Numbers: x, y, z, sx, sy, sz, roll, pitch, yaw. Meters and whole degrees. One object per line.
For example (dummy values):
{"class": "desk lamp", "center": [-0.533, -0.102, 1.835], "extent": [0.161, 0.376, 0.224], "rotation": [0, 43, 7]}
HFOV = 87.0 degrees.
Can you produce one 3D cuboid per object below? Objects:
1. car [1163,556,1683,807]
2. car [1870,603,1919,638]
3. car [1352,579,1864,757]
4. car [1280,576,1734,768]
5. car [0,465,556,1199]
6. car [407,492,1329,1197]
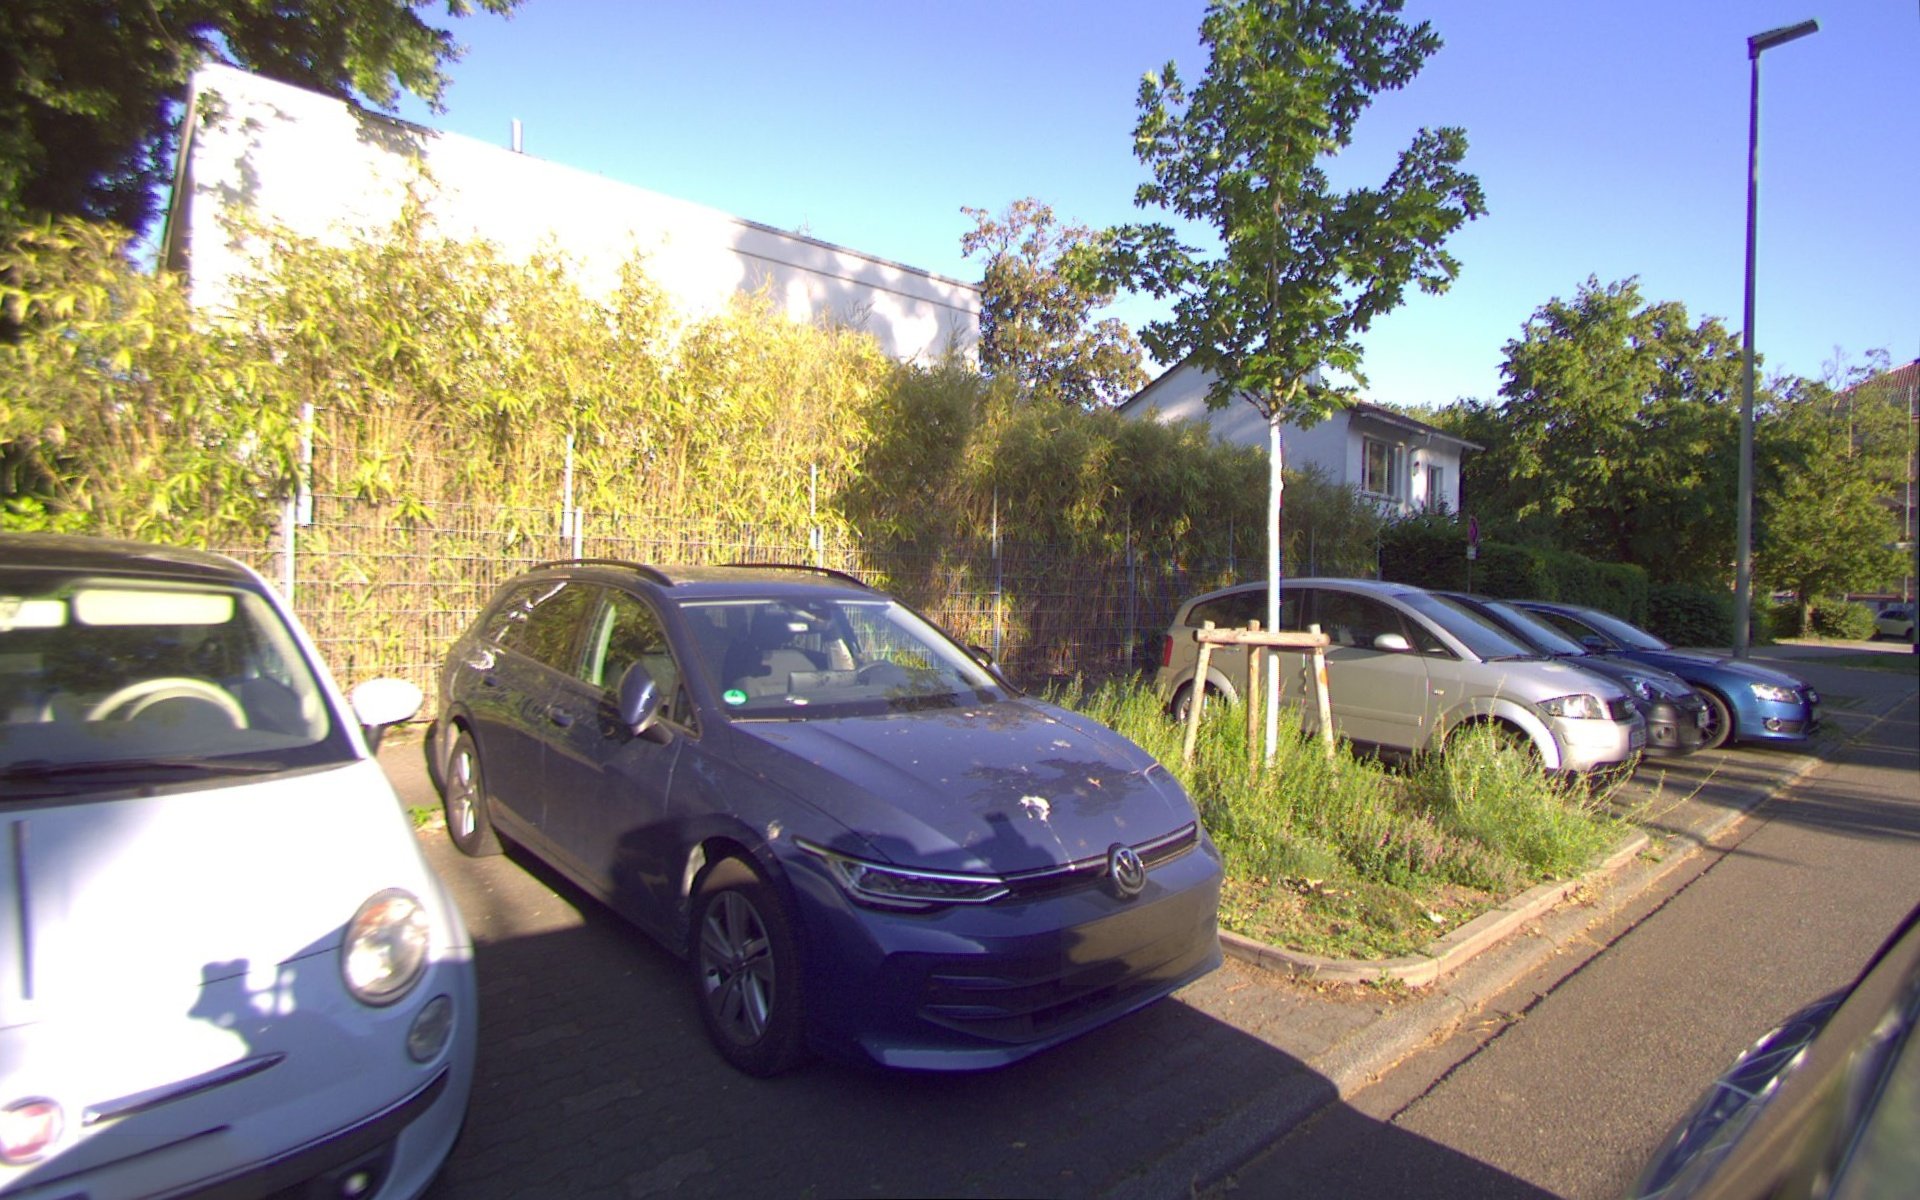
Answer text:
{"class": "car", "center": [3.644, 0.477, 8.312], "extent": [3.495, 1.604, 1.734], "rotation": [2, 1, 45]}
{"class": "car", "center": [43.040, 0.945, 44.837], "extent": [1.743, 1.486, 4.849], "rotation": [1, 1, 11]}
{"class": "car", "center": [7.186, 0.582, 11.686], "extent": [1.889, 1.431, 4.599], "rotation": [-1, 4, -40]}
{"class": "car", "center": [5.370, 0.559, 10.219], "extent": [3.683, 1.543, 1.763], "rotation": [2, 1, 45]}
{"class": "car", "center": [-2.659, 0.523, 2.981], "extent": [1.644, 1.535, 3.964], "rotation": [1, 1, -39]}
{"class": "car", "center": [-0.908, 0.490, 4.568], "extent": [1.858, 1.569, 4.499], "rotation": [1, 1, -41]}
